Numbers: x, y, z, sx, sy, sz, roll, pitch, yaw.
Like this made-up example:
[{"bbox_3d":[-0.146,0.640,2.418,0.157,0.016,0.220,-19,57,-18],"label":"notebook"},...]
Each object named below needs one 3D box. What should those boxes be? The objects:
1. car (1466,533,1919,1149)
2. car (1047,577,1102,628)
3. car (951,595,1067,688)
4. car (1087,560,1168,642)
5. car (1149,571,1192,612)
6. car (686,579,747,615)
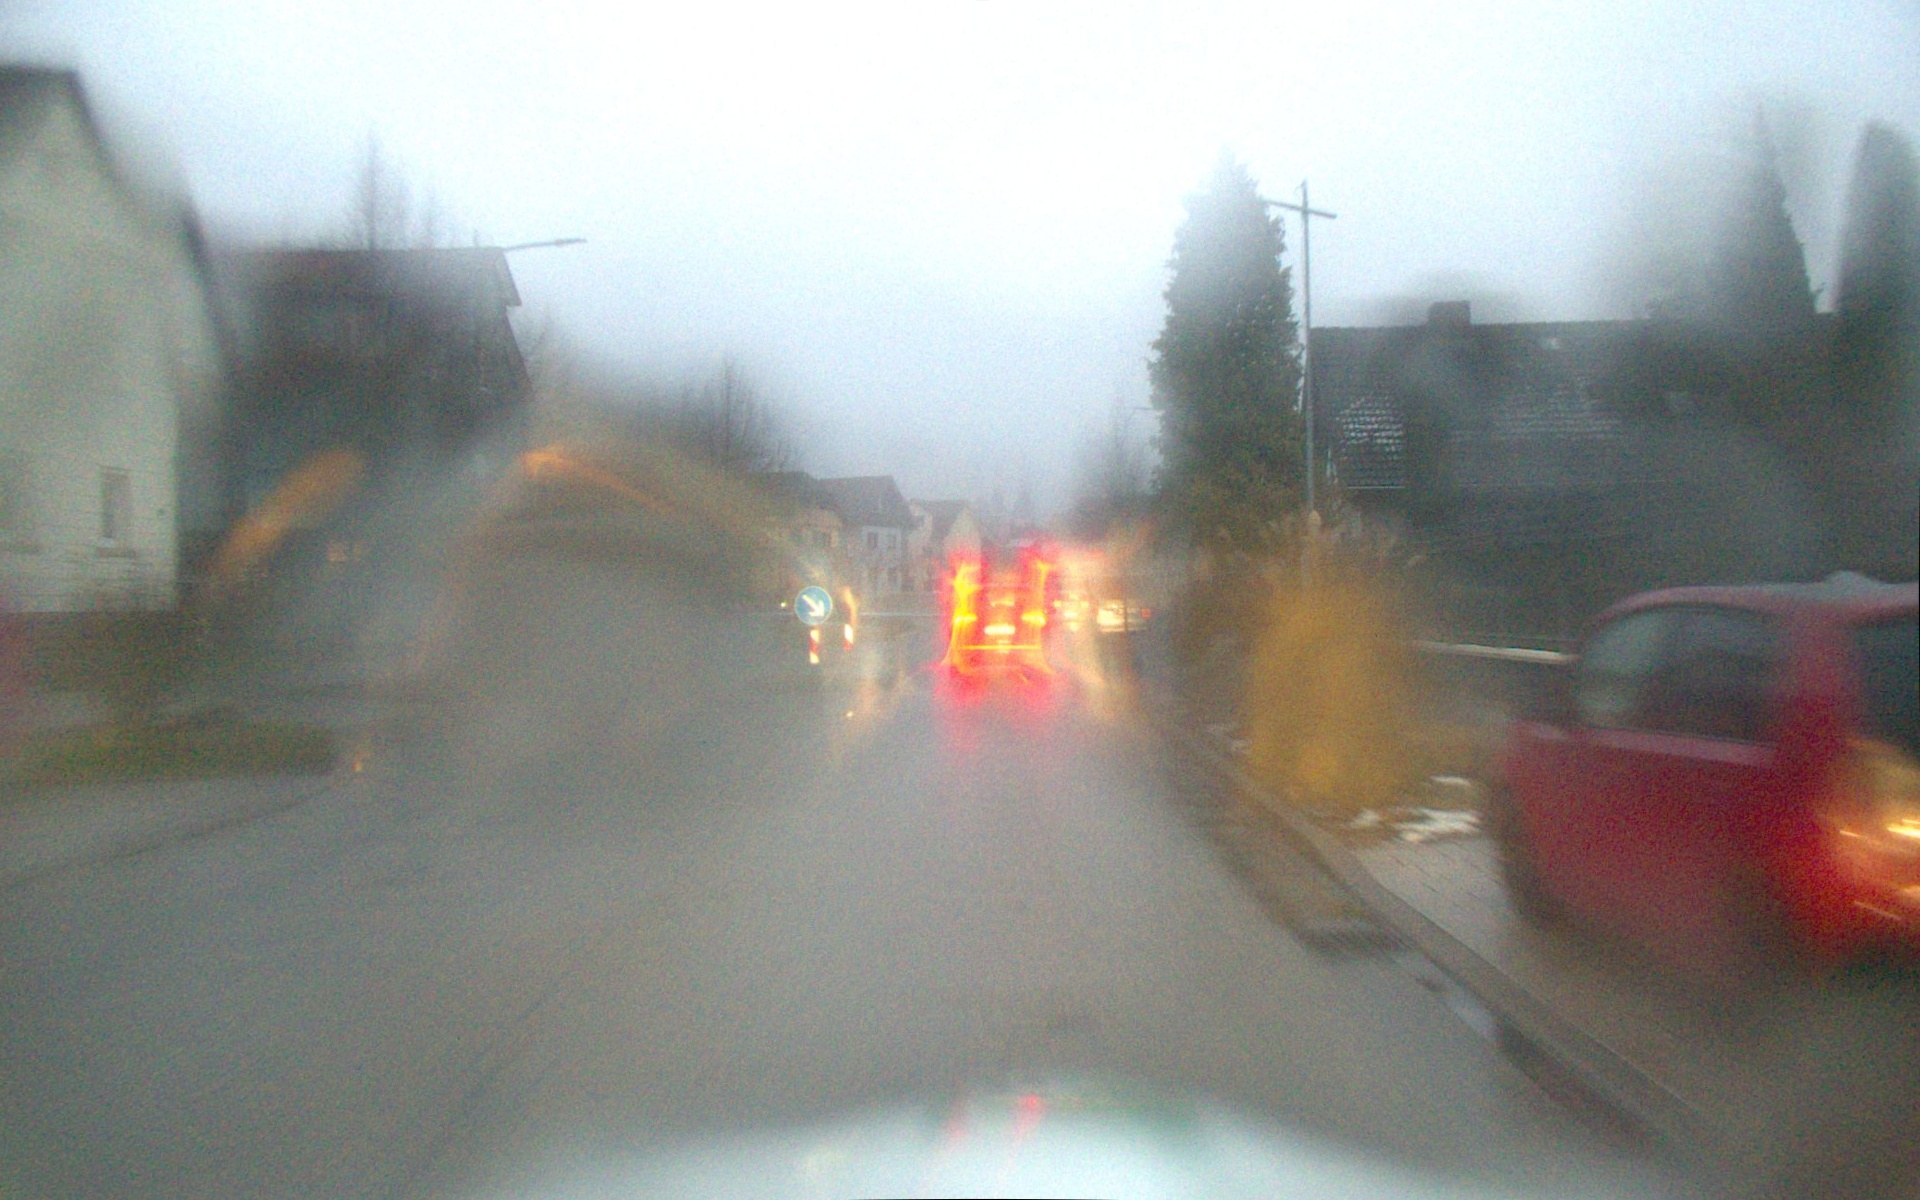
[{"bbox_3d":[3.192,0.575,5.999,1.616,1.566,3.391,-5,0,1],"label":"car"},{"bbox_3d":[4.766,0.107,68.623,1.951,2.049,4.003,0,0,9],"label":"car"},{"bbox_3d":[0.835,0.694,30.004,1.953,1.552,4.000,-1,0,0],"label":"car"},{"bbox_3d":[4.612,-0.013,46.197,1.936,2.048,5.748,-3,1,4],"label":"car"},{"bbox_3d":[10.267,-0.447,80.464,1.708,1.816,4.340,-3,1,12],"label":"car"},{"bbox_3d":[-14.295,-0.192,97.340,1.952,2.049,4.002,1,1,19],"label":"car"}]
